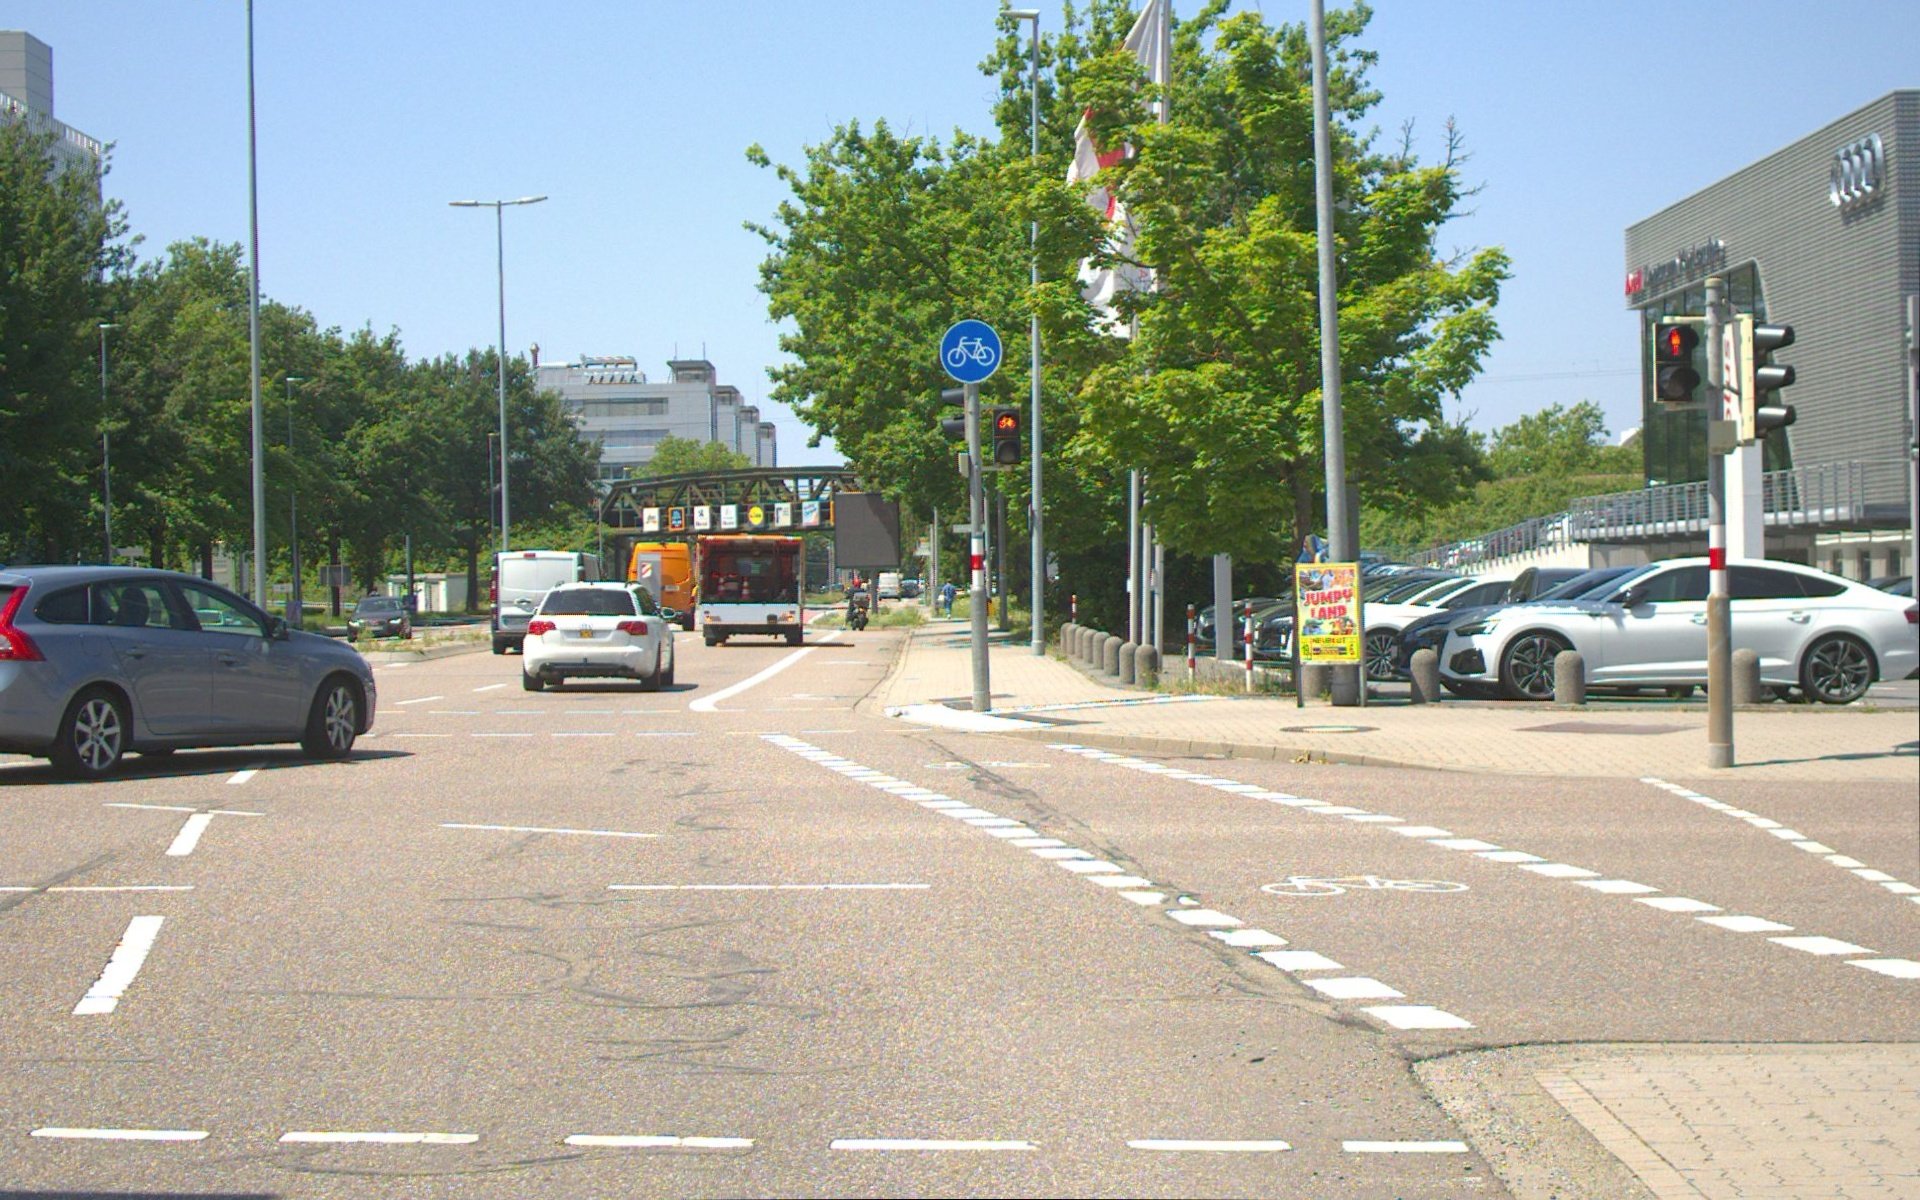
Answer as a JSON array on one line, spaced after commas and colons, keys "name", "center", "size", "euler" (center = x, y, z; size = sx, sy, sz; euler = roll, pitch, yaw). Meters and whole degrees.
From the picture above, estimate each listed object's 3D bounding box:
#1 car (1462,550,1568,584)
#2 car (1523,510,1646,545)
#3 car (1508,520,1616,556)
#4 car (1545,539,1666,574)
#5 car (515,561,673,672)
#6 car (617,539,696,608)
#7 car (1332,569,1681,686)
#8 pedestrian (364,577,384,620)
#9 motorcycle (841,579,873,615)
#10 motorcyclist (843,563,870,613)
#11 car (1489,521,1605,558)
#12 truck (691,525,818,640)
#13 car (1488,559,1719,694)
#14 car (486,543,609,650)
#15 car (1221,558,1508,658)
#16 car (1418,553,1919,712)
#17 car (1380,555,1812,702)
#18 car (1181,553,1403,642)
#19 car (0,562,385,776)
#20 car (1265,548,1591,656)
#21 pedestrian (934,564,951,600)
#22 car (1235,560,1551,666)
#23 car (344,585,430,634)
[{"name": "car", "center": [22.847, -1.355, 141.539], "size": [3.986, 1.307, 1.798], "euler": [-1, 0, -5]}, {"name": "car", "center": [21.970, -2.554, 120.994], "size": [3.938, 1.207, 1.718], "euler": [0, 0, -5]}, {"name": "car", "center": [21.833, -2.241, 124.774], "size": [3.523, 1.235, 1.677], "euler": [1, 0, -5]}, {"name": "car", "center": [21.879, -1.458, 116.554], "size": [3.724, 1.127, 1.684], "euler": [1, 0, -5]}, {"name": "car", "center": [-4.800, 0.189, 45.449], "size": [1.744, 1.391, 3.529], "euler": [0, 1, -1]}, {"name": "car", "center": [-9.159, -0.814, 103.984], "size": [1.993, 2.007, 4.813], "euler": [1, 1, -1]}, {"name": "car", "center": [6.904, 0.333, 43.717], "size": [4.096, 1.360, 1.874], "euler": [1, 0, 0]}, {"name": "pedestrian", "center": [-26.011, -0.073, 152.537], "size": [0.743, 1.878, 0.577], "euler": [-1, 0, 0]}, {"name": "motorcycle", "center": [-3.194, -0.094, 106.058], "size": [0.716, 1.101, 1.831], "euler": [1, 0, -10]}, {"name": "motorcyclist", "center": [-3.198, -0.364, 106.102], "size": [0.719, 1.524, 0.871], "euler": [1, 0, -10]}, {"name": "car", "center": [22.078, -2.271, 129.400], "size": [3.986, 1.307, 1.798], "euler": [1, 0, -5]}, {"name": "truck", "center": [-4.507, -0.401, 76.494], "size": [2.458, 2.402, 7.134], "euler": [1, 1, -1]}, {"name": "car", "center": [7.346, 0.277, 39.693], "size": [1.863, 1.415, 4.662], "euler": [1, 0, 1]}, {"name": "car", "center": [-7.975, -0.085, 66.839], "size": [1.993, 2.007, 4.000], "euler": [0, 0, -1]}, {"name": "car", "center": [6.100, 0.114, 52.178], "size": [4.101, 1.400, 1.869], "euler": [1, 0, 0]}, {"name": "car", "center": [6.853, 0.302, 33.263], "size": [4.592, 1.385, 1.869], "euler": [1, 0, 2]}, {"name": "car", "center": [6.533, 0.287, 35.635], "size": [4.096, 1.385, 1.869], "euler": [1, 0, 0]}, {"name": "car", "center": [5.799, -0.045, 60.358], "size": [3.681, 1.448, 1.834], "euler": [1, 0, 0]}, {"name": "car", "center": [-6.192, 0.444, 24.625], "size": [1.903, 1.371, 4.225], "euler": [-1, 0, 28]}, {"name": "car", "center": [6.281, 0.022, 46.458], "size": [4.099, 1.344, 1.869], "euler": [1, 0, 0]}, {"name": "pedestrian", "center": [-0.668, -0.680, 131.236], "size": [0.623, 1.370, 0.564], "euler": [-1, 0, -2]}, {"name": "car", "center": [6.146, 0.181, 49.130], "size": [4.226, 1.385, 1.869], "euler": [1, 0, 0]}, {"name": "car", "center": [-18.254, 0.291, 109.768], "size": [1.726, 1.441, 4.719], "euler": [-3, 0, 2]}]
